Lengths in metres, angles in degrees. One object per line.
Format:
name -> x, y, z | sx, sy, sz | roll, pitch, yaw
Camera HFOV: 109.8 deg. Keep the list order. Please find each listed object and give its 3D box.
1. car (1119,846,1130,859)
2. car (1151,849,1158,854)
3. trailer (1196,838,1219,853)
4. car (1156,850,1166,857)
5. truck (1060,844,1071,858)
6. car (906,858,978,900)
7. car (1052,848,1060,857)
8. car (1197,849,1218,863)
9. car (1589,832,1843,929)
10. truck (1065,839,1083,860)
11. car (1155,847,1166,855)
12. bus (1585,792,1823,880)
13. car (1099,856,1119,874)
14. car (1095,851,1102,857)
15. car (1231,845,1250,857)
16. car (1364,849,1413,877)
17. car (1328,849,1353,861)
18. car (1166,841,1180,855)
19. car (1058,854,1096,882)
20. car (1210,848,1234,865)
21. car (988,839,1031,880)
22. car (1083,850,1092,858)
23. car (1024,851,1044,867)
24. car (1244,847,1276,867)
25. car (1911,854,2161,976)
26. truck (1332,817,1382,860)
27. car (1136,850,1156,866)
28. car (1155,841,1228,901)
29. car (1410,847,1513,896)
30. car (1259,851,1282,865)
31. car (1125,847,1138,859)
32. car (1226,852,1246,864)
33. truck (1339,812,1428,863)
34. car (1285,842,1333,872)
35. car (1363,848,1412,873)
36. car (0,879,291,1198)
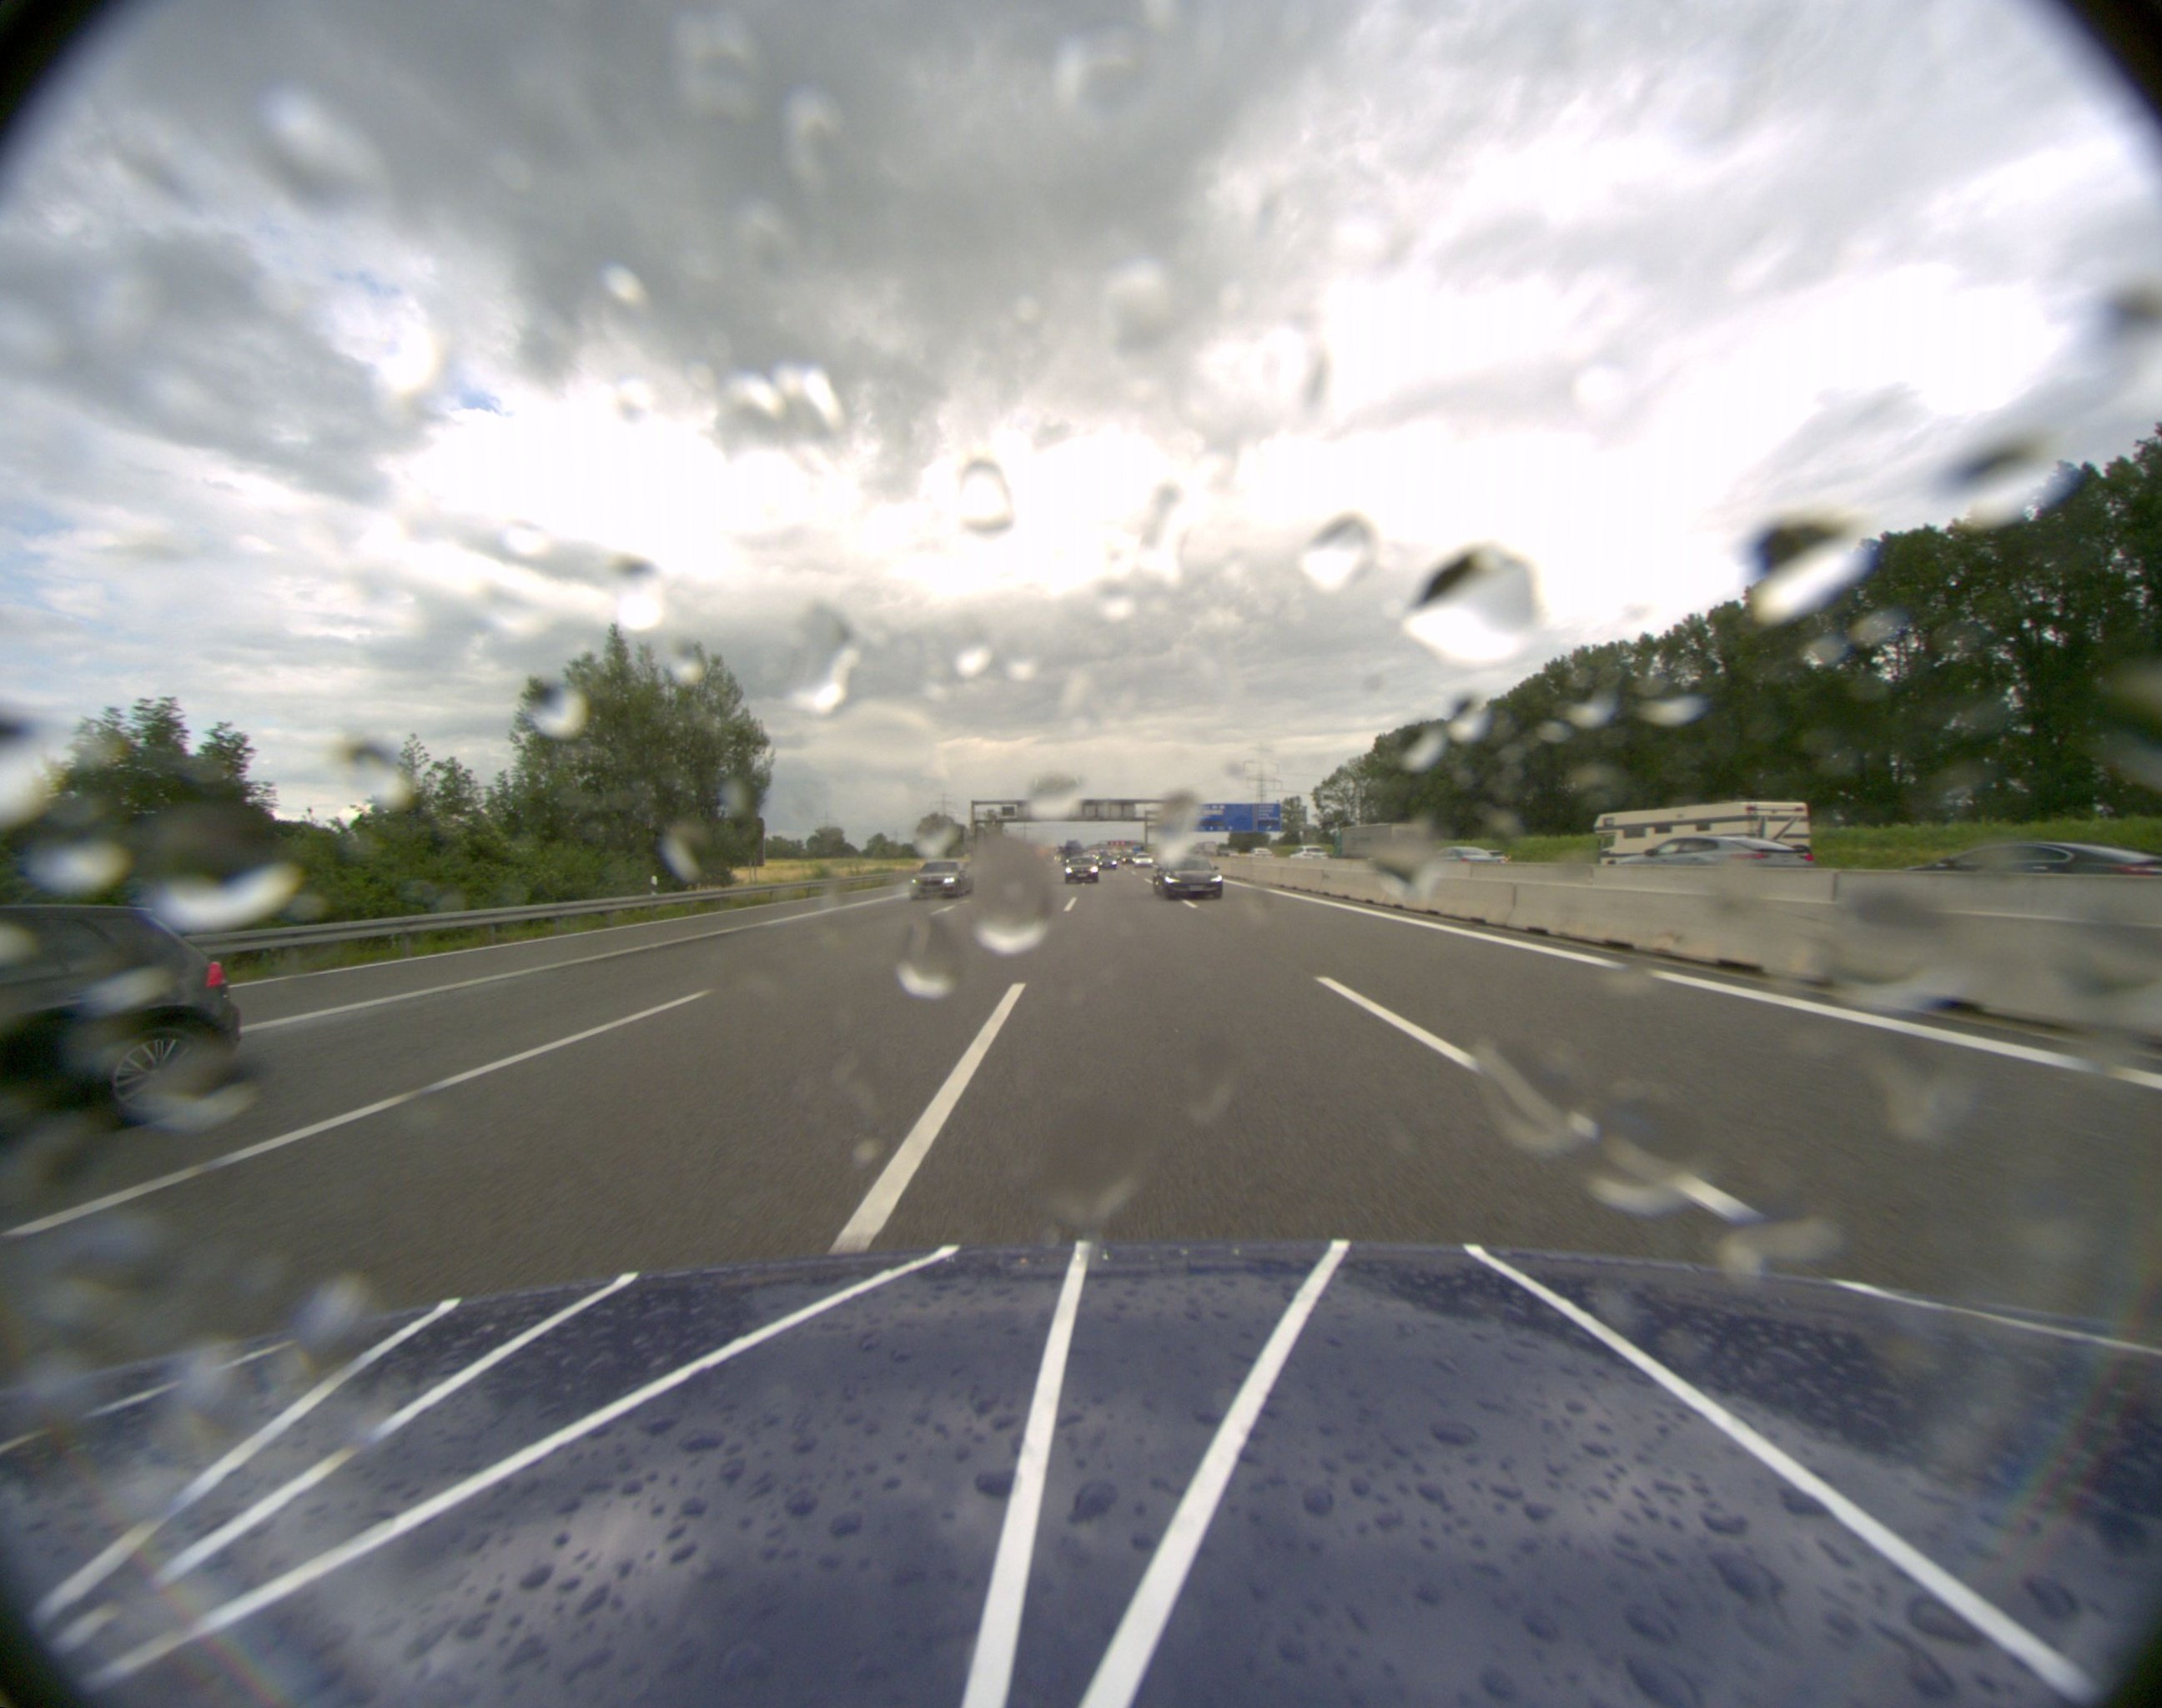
car -> 8.616, -0.339, 149.750 | 2.144, 2.486, 5.449 | -2, 0, 4
car -> 23.377, -0.792, 241.330 | 1.998, 1.717, 4.017 | -2, 0, 1
trailer -> 30.821, -2.096, 186.196 | 3.117, 3.487, 14.451 | -2, 0, 0
car -> 19.467, -0.089, 184.022 | 1.998, 1.717, 4.017 | -2, 0, 0
truck -> -2.987, -0.495, 147.276 | 1.790, 2.660, 5.769 | -2, 0, 2
car -> -5.529, 0.938, 30.879 | 1.944, 1.482, 4.775 | -2, 0, 1
car -> -5.838, -0.280, 177.121 | 1.836, 2.002, 3.862 | -2, 0, 0
car -> 18.113, 0.287, 109.041 | 1.998, 1.874, 5.186 | -2, 0, 0
car -> 15.329, 0.555, 18.861 | 1.998, 2.002, 5.181 | -2, 0, 1
truck -> -0.964, -0.568, 104.915 | 2.391, 2.726, 6.593 | -2, 0, 0
car -> 17.528, -0.691, 167.866 | 1.873, 1.648, 4.000 | -2, 0, 1
bus -> 27.267, -0.718, 34.192 | 2.838, 3.313, 9.964 | -2, 0, 2
car -> 2.762, 1.040, 73.851 | 1.710, 1.562, 4.347 | -2, 0, 4
car -> 4.946, 0.028, 219.393 | 1.998, 1.801, 4.273 | -1, 0, 1
car -> 26.797, -0.522, 127.469 | 1.998, 2.002, 5.403 | -2, 0, 0
car -> 24.043, 0.655, 59.576 | 1.998, 2.002, 4.638 | -2, 0, 1
car -> 33.930, 0.152, 99.312 | 1.806, 1.424, 3.999 | -2, 0, 0
car -> 18.369, -1.198, 152.425 | 1.998, 2.601, 6.342 | -2, 0, 0
car -> -0.166, 0.729, 41.808 | 1.922, 1.407, 4.000 | -1, 0, 2
car -> 16.639, 0.312, 90.005 | 1.998, 1.887, 5.186 | -2, 0, 1
car -> -4.638, 0.339, 50.203 | 2.145, 2.486, 5.448 | -2, 0, 1
car -> 1.682, 0.054, 182.769 | 1.998, 1.810, 5.163 | -2, 0, 2
car -> -4.943, 0.489, 80.775 | 1.999, 1.632, 4.629 | -1, 0, -2
car -> 17.116, 0.274, 72.815 | 1.998, 1.842, 5.078 | -1, 0, 2
car -> 19.380, 1.045, 14.912 | 1.809, 2.002, 4.000 | -2, 0, 1
truck -> 28.448, -1.573, 78.651 | 3.126, 4.257, 5.911 | -1, 0, 2
car -> 6.731, 0.377, 78.900 | 1.822, 1.565, 4.000 | -2, 0, 2
car -> 3.644, 0.505, 25.883 | 1.998, 1.810, 5.163 | -2, 0, 3
car -> 15.937, 0.670, 32.103 | 1.998, 1.844, 4.635 | -2, 0, 0
car -> 25.856, 0.560, 104.053 | 1.998, 1.842, 5.078 | -1, 0, 2
car -> 6.958, -0.160, 105.395 | 1.710, 1.621, 4.001 | -2, 0, 4
car -> 22.269, 0.585, 109.215 | 1.998, 1.694, 5.078 | -1, 0, 2
truck -> 28.328, -1.472, 72.217 | 3.155, 4.288, 13.951 | -2, 0, 1
car -> 15.896, 0.193, 53.277 | 1.998, 2.002, 4.763 | -2, 0, 2
car -> 23.892, 0.487, 59.359 | 1.998, 1.844, 4.401 | -2, 0, 0
car -> -6.612, 1.028, 3.182 | 1.710, 1.621, 4.458 | -2, 0, 4
